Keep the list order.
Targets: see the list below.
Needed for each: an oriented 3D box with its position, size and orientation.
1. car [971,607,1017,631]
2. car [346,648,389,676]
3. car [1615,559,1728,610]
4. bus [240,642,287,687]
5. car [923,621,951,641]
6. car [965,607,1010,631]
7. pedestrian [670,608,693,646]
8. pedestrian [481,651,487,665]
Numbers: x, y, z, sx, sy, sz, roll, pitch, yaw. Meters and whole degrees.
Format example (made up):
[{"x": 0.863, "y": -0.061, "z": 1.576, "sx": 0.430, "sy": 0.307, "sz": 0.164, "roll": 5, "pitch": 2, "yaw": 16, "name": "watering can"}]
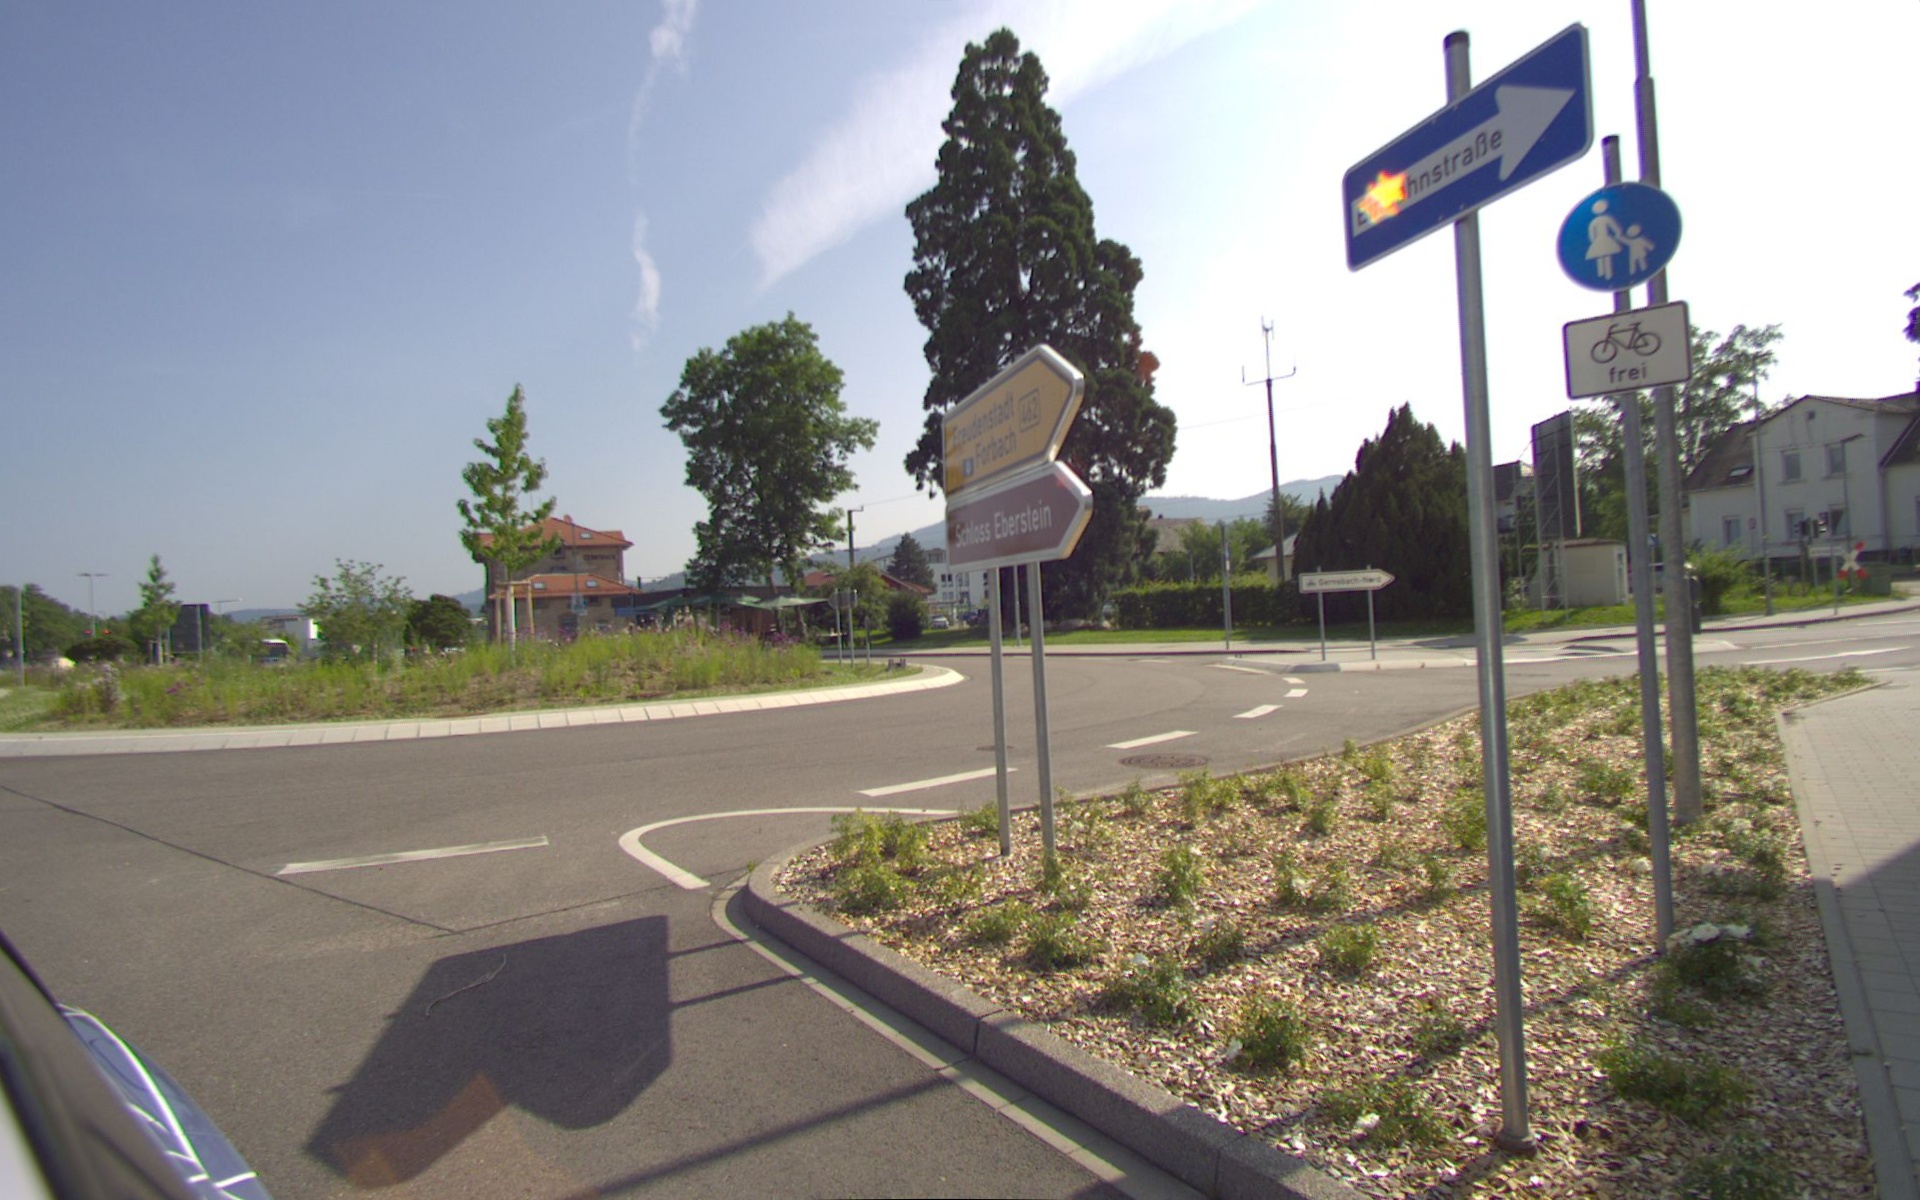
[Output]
[{"x": 3.193, "y": 1.769, "z": 95.706, "sx": 3.939, "sy": 1.863, "sz": 1.787, "roll": -6, "pitch": 0, "yaw": -7, "name": "car"}, {"x": -48.264, "y": 5.030, "z": 82.570, "sx": 1.945, "sy": 1.979, "sz": 5.173, "roll": -5, "pitch": 0, "yaw": -20, "name": "car"}, {"x": 32.720, "y": -0.688, "z": 46.571, "sx": 3.997, "sy": 1.929, "sz": 1.869, "roll": -5, "pitch": 0, "yaw": 40, "name": "car"}, {"x": -58.962, "y": 5.485, "z": 85.554, "sx": 2.547, "sy": 3.353, "sz": 10.610, "roll": -5, "pitch": 0, "yaw": -38, "name": "bus"}, {"x": -2.059, "y": 2.682, "z": 88.523, "sx": 1.580, "sy": 1.505, "sz": 3.661, "roll": -5, "pitch": 1, "yaw": -14, "name": "car"}, {"x": 2.643, "y": 1.811, "z": 98.070, "sx": 3.939, "sy": 1.863, "sz": 1.787, "roll": -6, "pitch": 0, "yaw": -7, "name": "car"}, {"x": -15.463, "y": 1.509, "z": 56.219, "sx": 0.706, "sy": 2.028, "sz": 0.851, "roll": -5, "pitch": 0, "yaw": 28, "name": "pedestrian"}, {"x": -42.082, "y": 5.140, "z": 89.499, "sx": 0.365, "sy": 1.171, "sz": 0.508, "roll": -5, "pitch": 0, "yaw": -27, "name": "pedestrian"}]
